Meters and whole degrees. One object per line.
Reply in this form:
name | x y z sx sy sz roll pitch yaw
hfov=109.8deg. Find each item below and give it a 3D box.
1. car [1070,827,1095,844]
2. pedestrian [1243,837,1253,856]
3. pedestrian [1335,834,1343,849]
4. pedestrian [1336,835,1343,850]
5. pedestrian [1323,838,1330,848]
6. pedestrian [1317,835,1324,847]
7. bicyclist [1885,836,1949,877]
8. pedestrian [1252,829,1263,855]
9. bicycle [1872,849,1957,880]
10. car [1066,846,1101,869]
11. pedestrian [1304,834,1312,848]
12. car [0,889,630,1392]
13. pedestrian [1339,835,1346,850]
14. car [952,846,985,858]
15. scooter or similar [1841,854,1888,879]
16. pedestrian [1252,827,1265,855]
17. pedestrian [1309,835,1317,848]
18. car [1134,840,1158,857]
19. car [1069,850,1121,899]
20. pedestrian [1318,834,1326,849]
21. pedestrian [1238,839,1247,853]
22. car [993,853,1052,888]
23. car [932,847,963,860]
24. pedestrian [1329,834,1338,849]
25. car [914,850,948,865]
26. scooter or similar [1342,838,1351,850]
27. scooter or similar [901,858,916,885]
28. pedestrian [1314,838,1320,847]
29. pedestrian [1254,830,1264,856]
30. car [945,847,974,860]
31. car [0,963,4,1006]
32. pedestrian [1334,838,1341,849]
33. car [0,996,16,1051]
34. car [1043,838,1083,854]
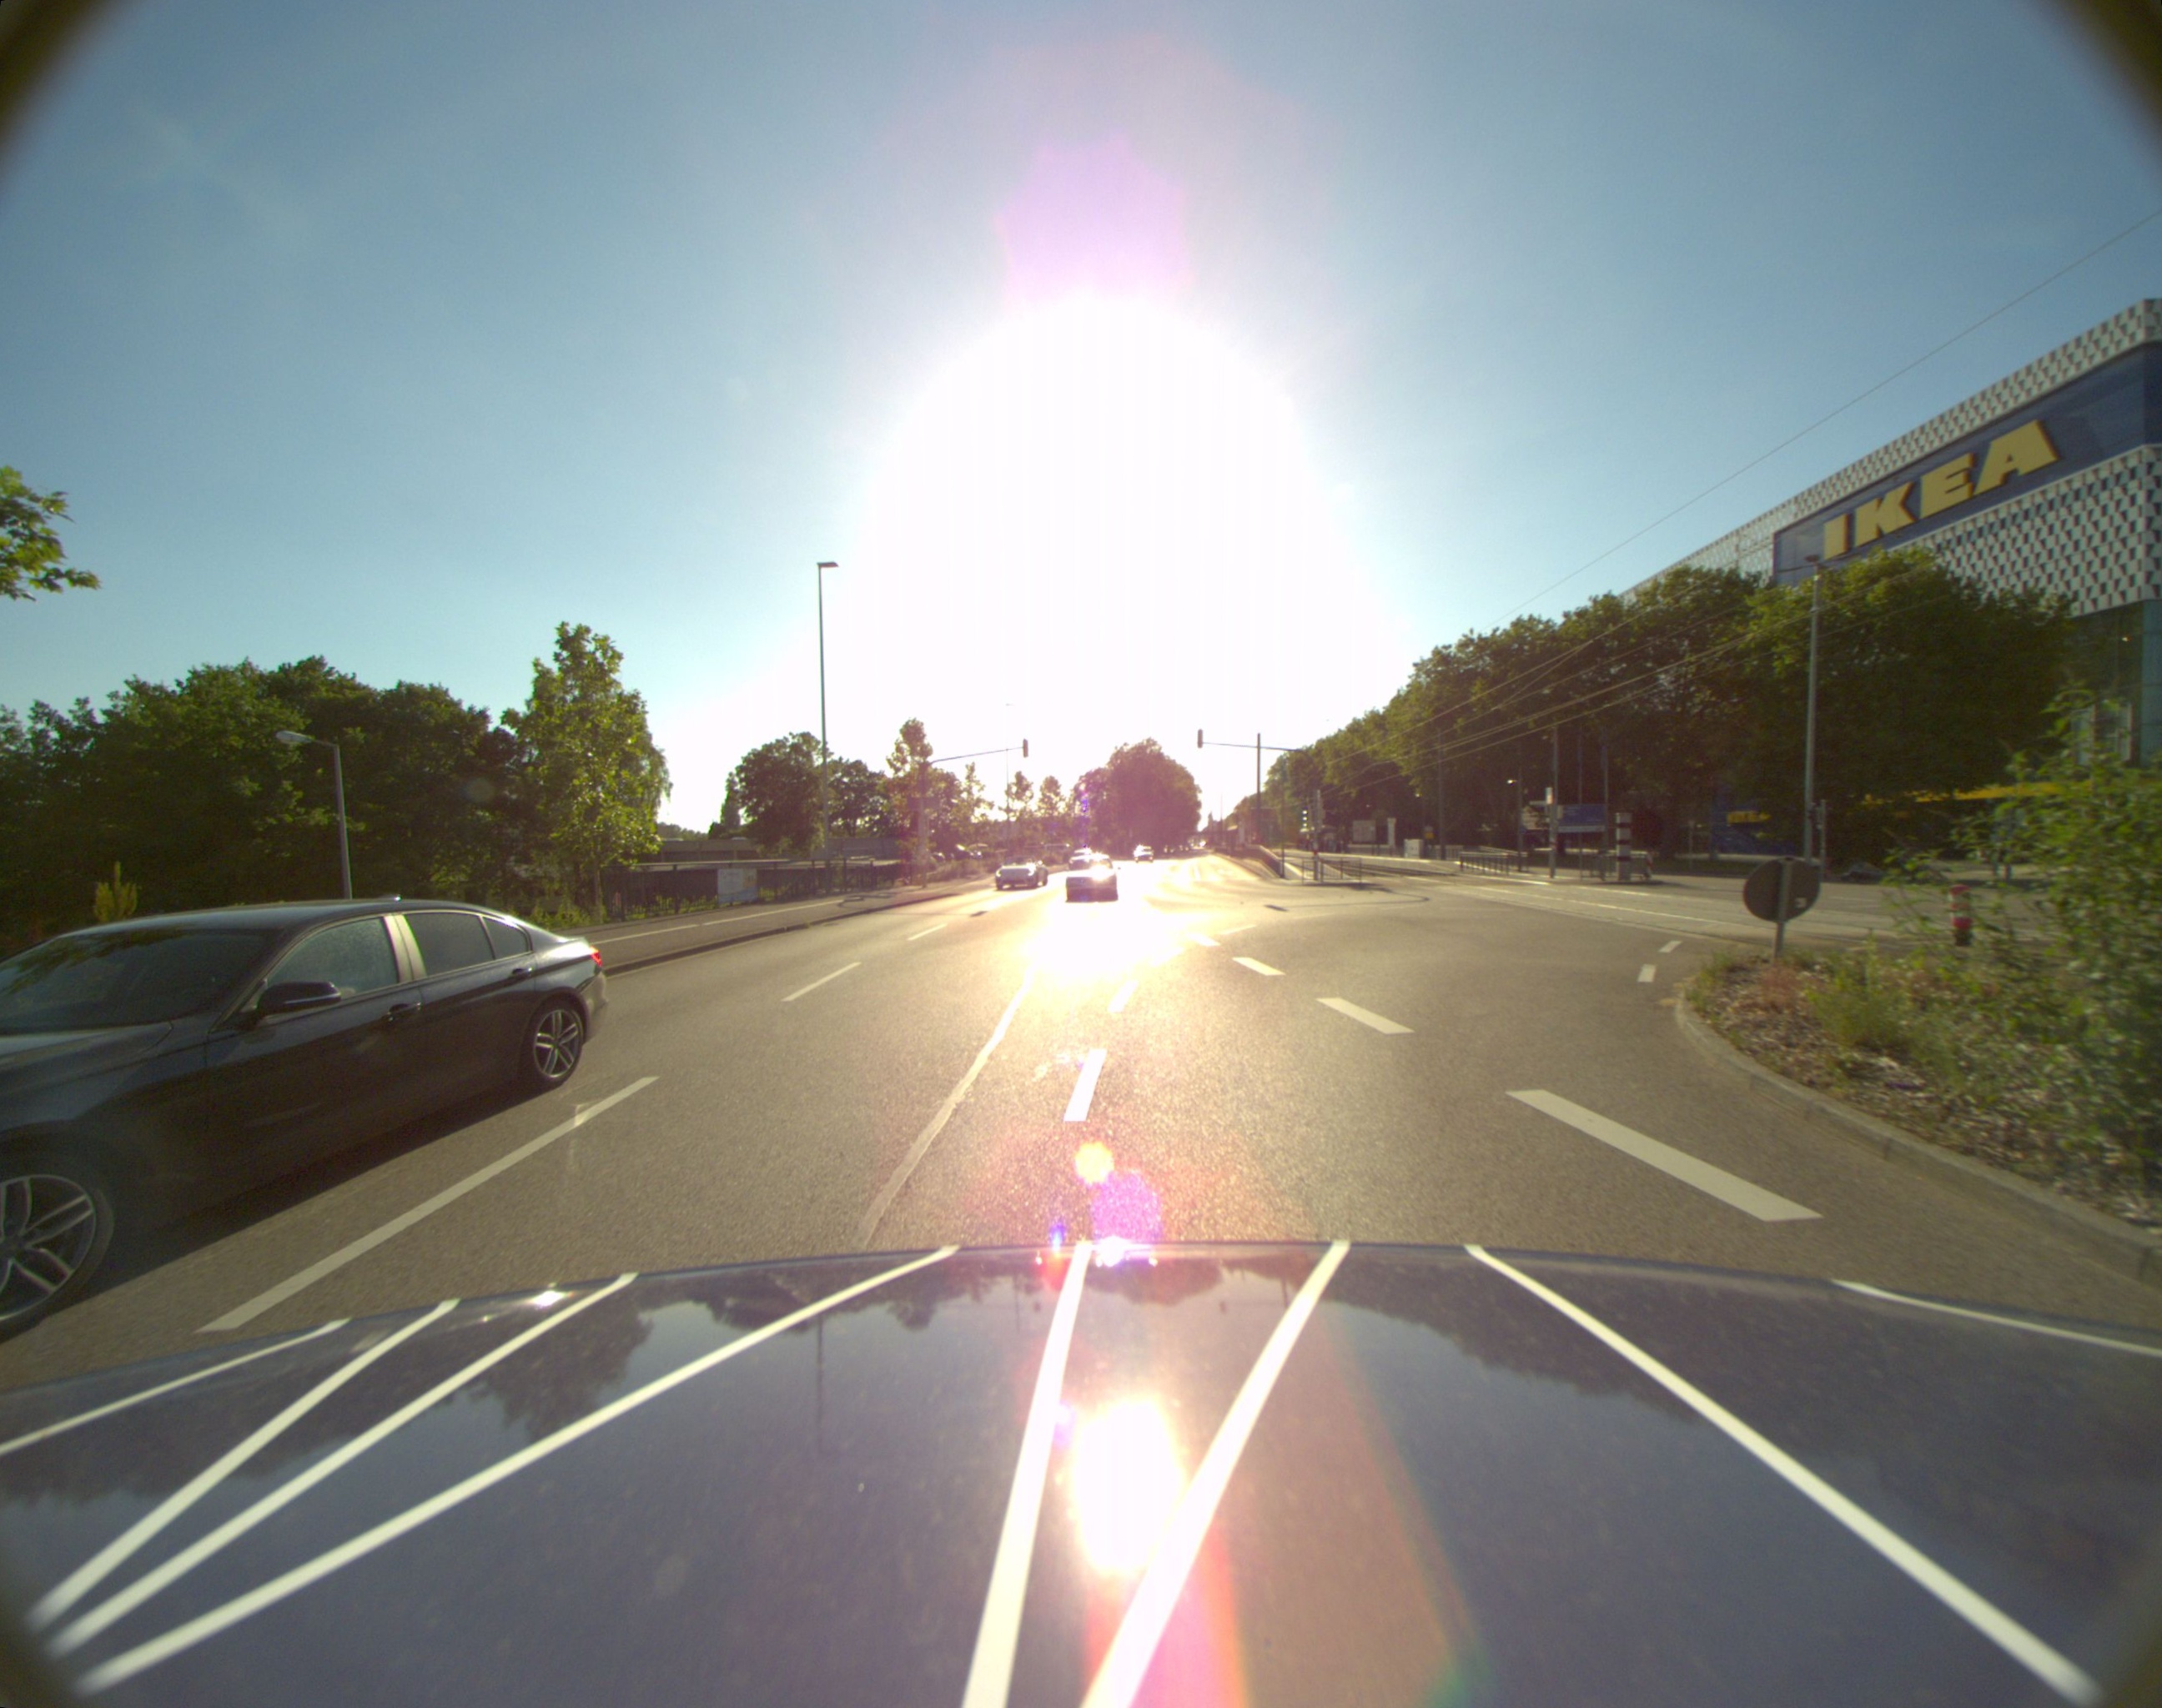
car | 0.294 -2.972 124.500 2.937 2.607 5.927 -1 1 12
pedestrian | 14.840 -0.669 67.533 0.695 1.706 0.822 -2 2 4
pedestrian | 28.773 -1.384 84.783 0.652 1.709 0.635 -2 2 12
pedestrian | 28.666 -1.305 84.300 0.652 1.611 0.635 -2 2 12
pedestrian | 29.235 -1.317 90.585 0.654 1.245 0.685 -3 1 6
pedestrian | 29.833 -1.578 94.670 0.615 1.460 0.544 -1 2 0
bicyclist | 33.932 0.103 30.863 1.483 1.608 0.823 0 3 15
pedestrian | 11.564 -0.771 49.822 0.534 1.683 0.761 -3 2 11
bicycle | 33.856 0.420 30.886 2.275 1.211 0.715 0 3 15
car | 0.223 0.240 55.175 1.739 1.502 4.002 -2 1 11
pedestrian | 30.033 -1.733 100.581 0.762 1.700 0.678 -3 2 10
car | -4.633 1.098 3.920 1.871 1.459 4.584 -2 1 -1
pedestrian | 28.547 -1.238 82.831 0.603 1.611 0.691 -2 2 12
car | -17.356 -0.252 117.807 4.658 1.560 1.859 -3 1 6
scooter or similar | 32.225 0.504 31.272 1.064 1.009 0.789 0 3 15
pedestrian | 11.804 -0.877 50.504 0.708 1.765 0.536 -3 2 13
pedestrian | 28.164 -1.513 92.244 0.661 1.623 0.777 -3 1 10
car | 6.202 -0.508 71.714 1.870 1.422 3.833 -3 1 10
car | 0.547 0.659 26.434 1.602 1.440 3.799 -3 1 3
pedestrian | 28.425 -1.442 89.585 0.654 1.732 0.686 -3 1 11
pedestrian | 15.247 -0.754 71.864 0.681 1.225 0.879 -3 1 9
car | -2.602 0.710 34.630 1.855 1.415 3.982 -2 1 8
car | -18.931 -0.037 107.823 4.028 1.577 1.686 -3 1 5
pedestrian | 28.993 -1.391 87.252 0.733 1.682 0.687 -3 1 -2
car | -19.637 0.457 99.603 3.917 1.657 1.706 -3 2 6
scooter or similar | 28.174 -1.025 80.607 0.665 1.228 1.373 -1 1 8
scooter or similar | -8.141 0.807 35.910 0.525 1.224 1.265 -1 2 -5
pedestrian | 30.476 -1.489 98.049 0.679 1.156 0.624 -1 2 6
pedestrian | 11.461 -0.699 48.886 0.534 1.648 0.751 -3 2 11
car | -18.022 -0.113 112.839 3.871 1.631 1.665 -3 1 7
car | -39.461 4.647 25.814 3.700 1.492 1.681 -3 1 7
pedestrian | 28.870 -1.156 85.605 0.603 1.217 0.617 -2 2 12
car | -31.013 4.706 20.082 3.700 1.442 1.667 -3 2 7
car | -2.557 -1.106 107.802 5.347 2.010 2.104 -3 1 6
